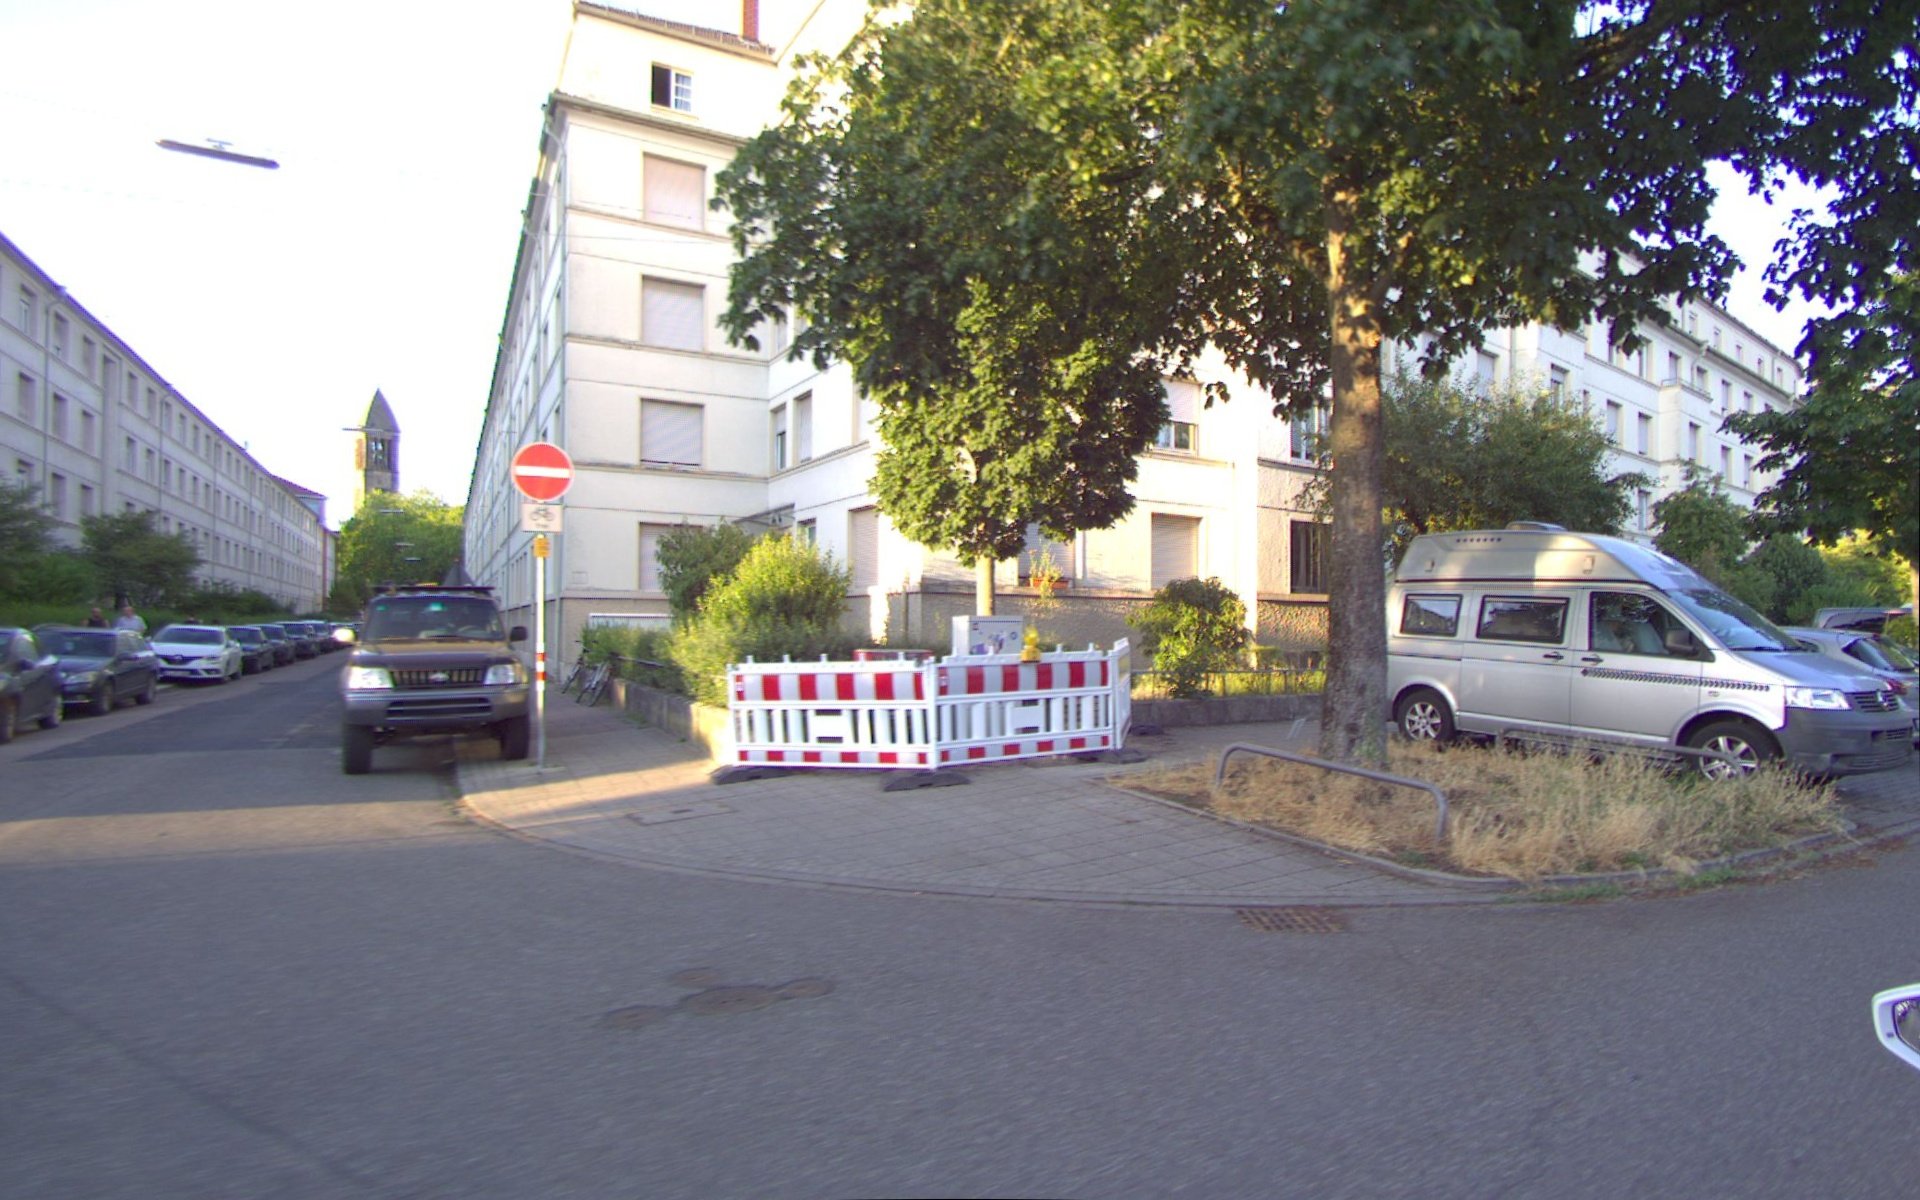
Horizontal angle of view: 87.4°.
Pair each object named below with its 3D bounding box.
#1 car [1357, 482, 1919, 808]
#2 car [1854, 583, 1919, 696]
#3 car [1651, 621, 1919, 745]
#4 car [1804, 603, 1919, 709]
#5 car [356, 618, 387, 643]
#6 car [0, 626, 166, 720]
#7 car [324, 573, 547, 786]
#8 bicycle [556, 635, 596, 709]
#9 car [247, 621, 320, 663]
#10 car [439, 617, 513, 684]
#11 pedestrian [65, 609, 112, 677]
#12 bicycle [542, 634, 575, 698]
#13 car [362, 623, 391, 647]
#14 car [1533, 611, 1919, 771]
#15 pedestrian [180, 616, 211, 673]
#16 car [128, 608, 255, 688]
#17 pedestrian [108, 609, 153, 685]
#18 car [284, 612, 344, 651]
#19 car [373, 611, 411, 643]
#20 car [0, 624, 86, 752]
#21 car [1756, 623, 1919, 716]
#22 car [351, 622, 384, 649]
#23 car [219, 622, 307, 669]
[{"bbox_3d":[6.808,0.390,10.587,1.976,2.603,4.710,1,-1,-29],"label":"car"},{"bbox_3d":[22.319,0.871,21.501,1.981,2.463,4.470,1,-1,-36],"label":"car"},{"bbox_3d":[12.037,1.070,13.501,1.665,1.413,4.222,1,1,-31],"label":"car"},{"bbox_3d":[18.435,1.010,18.107,1.981,1.898,4.640,1,-1,-37],"label":"car"},{"bbox_3d":[-44.174,2.294,75.449,1.772,1.838,3.973,1,-2,-27],"label":"car"},{"bbox_3d":[-15.433,1.194,17.678,1.621,1.431,3.659,1,-1,-28],"label":"car"},{"bbox_3d":[-6.374,0.789,12.098,1.977,2.040,4.555,1,-1,-30],"label":"car"},{"bbox_3d":[-6.796,1.231,17.739,0.427,1.188,2.200,1,-1,-27],"label":"bicycle"},{"bbox_3d":[-28.091,1.725,41.832,1.974,1.674,3.974,1,-2,-26],"label":"car"},{"bbox_3d":[-12.780,1.262,26.443,1.630,1.624,3.426,1,-1,-28],"label":"car"},{"bbox_3d":[-21.968,1.069,25.330,0.727,1.658,0.811,0,-1,-29],"label":"pedestrian"},{"bbox_3d":[-8.258,1.316,20.600,0.427,1.188,2.200,1,-1,-27],"label":"bicycle"},{"bbox_3d":[-50.628,3.033,87.222,1.974,2.040,3.973,1,-2,-27],"label":"car"},{"bbox_3d":[9.470,0.971,12.438,1.635,1.543,3.781,1,1,-33],"label":"car"},{"bbox_3d":[-25.930,1.501,34.080,0.727,1.900,0.733,1,-1,-29],"label":"pedestrian"},{"bbox_3d":[-19.933,1.180,26.248,1.975,1.924,3.971,1,-1,-28],"label":"car"},{"bbox_3d":[-21.214,1.202,25.709,0.727,1.900,0.733,1,-1,-29],"label":"pedestrian"},{"bbox_3d":[-31.996,1.524,49.851,1.974,1.805,3.974,1,-1,-26],"label":"car"},{"bbox_3d":[-35.767,1.672,63.369,1.975,1.910,3.971,1,-1,-28],"label":"car"},{"bbox_3d":[-13.166,1.098,13.240,1.706,1.511,3.446,1,-1,-28],"label":"car"},{"bbox_3d":[16.011,1.150,16.951,1.639,1.458,3.743,1,0,-35],"label":"car"},{"bbox_3d":[-46.954,2.784,79.678,1.974,2.040,3.973,1,-2,-27],"label":"car"},{"bbox_3d":[-24.893,1.595,36.020,1.974,1.550,3.974,1,-2,-26],"label":"car"}]
